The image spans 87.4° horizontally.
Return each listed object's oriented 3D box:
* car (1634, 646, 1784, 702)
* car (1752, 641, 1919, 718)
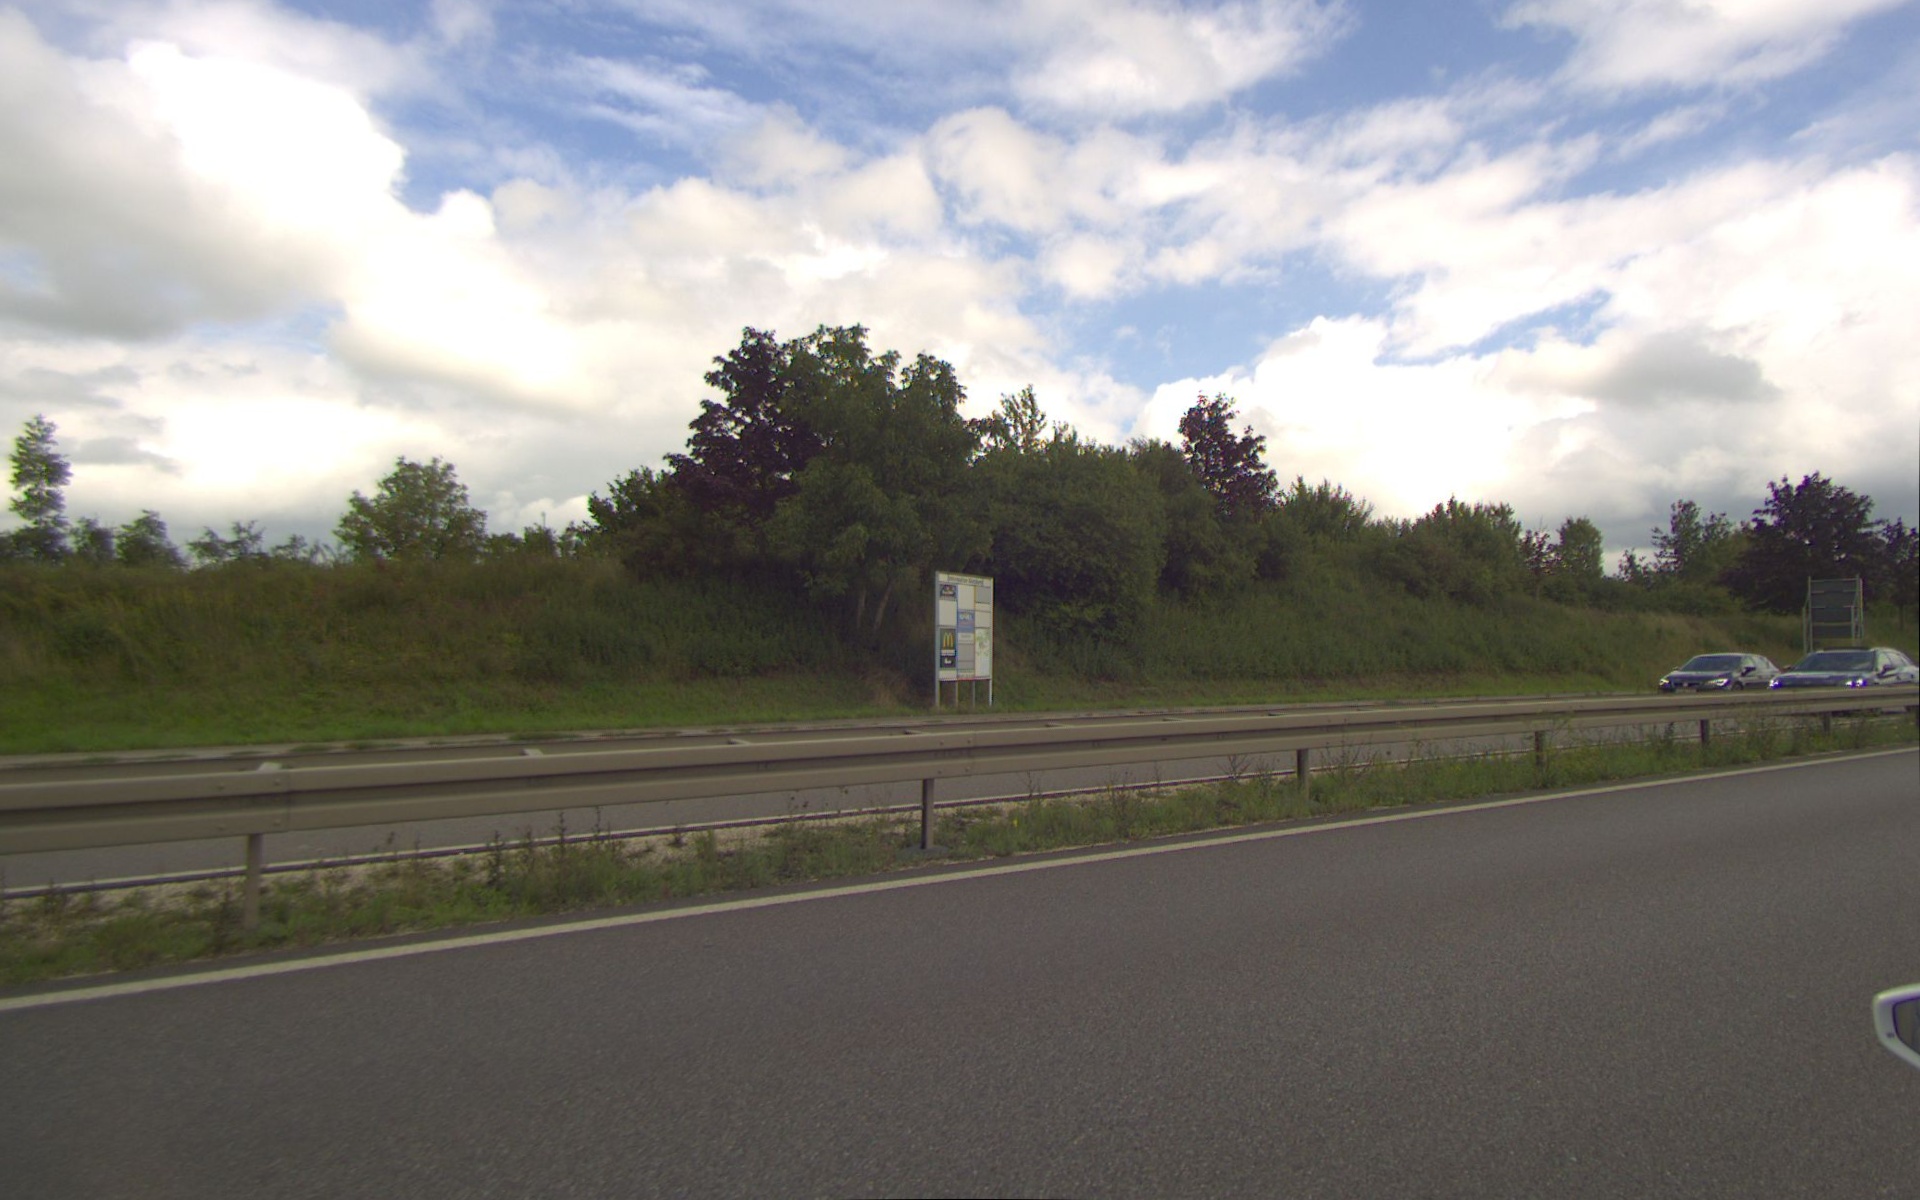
[{"bbox_3d":[20.075,1.924,26.878,4.365,1.341,1.683,1,-2,-31],"label":"car"},{"bbox_3d":[19.491,1.674,22.086,4.523,1.505,1.746,1,-2,-31],"label":"car"}]
